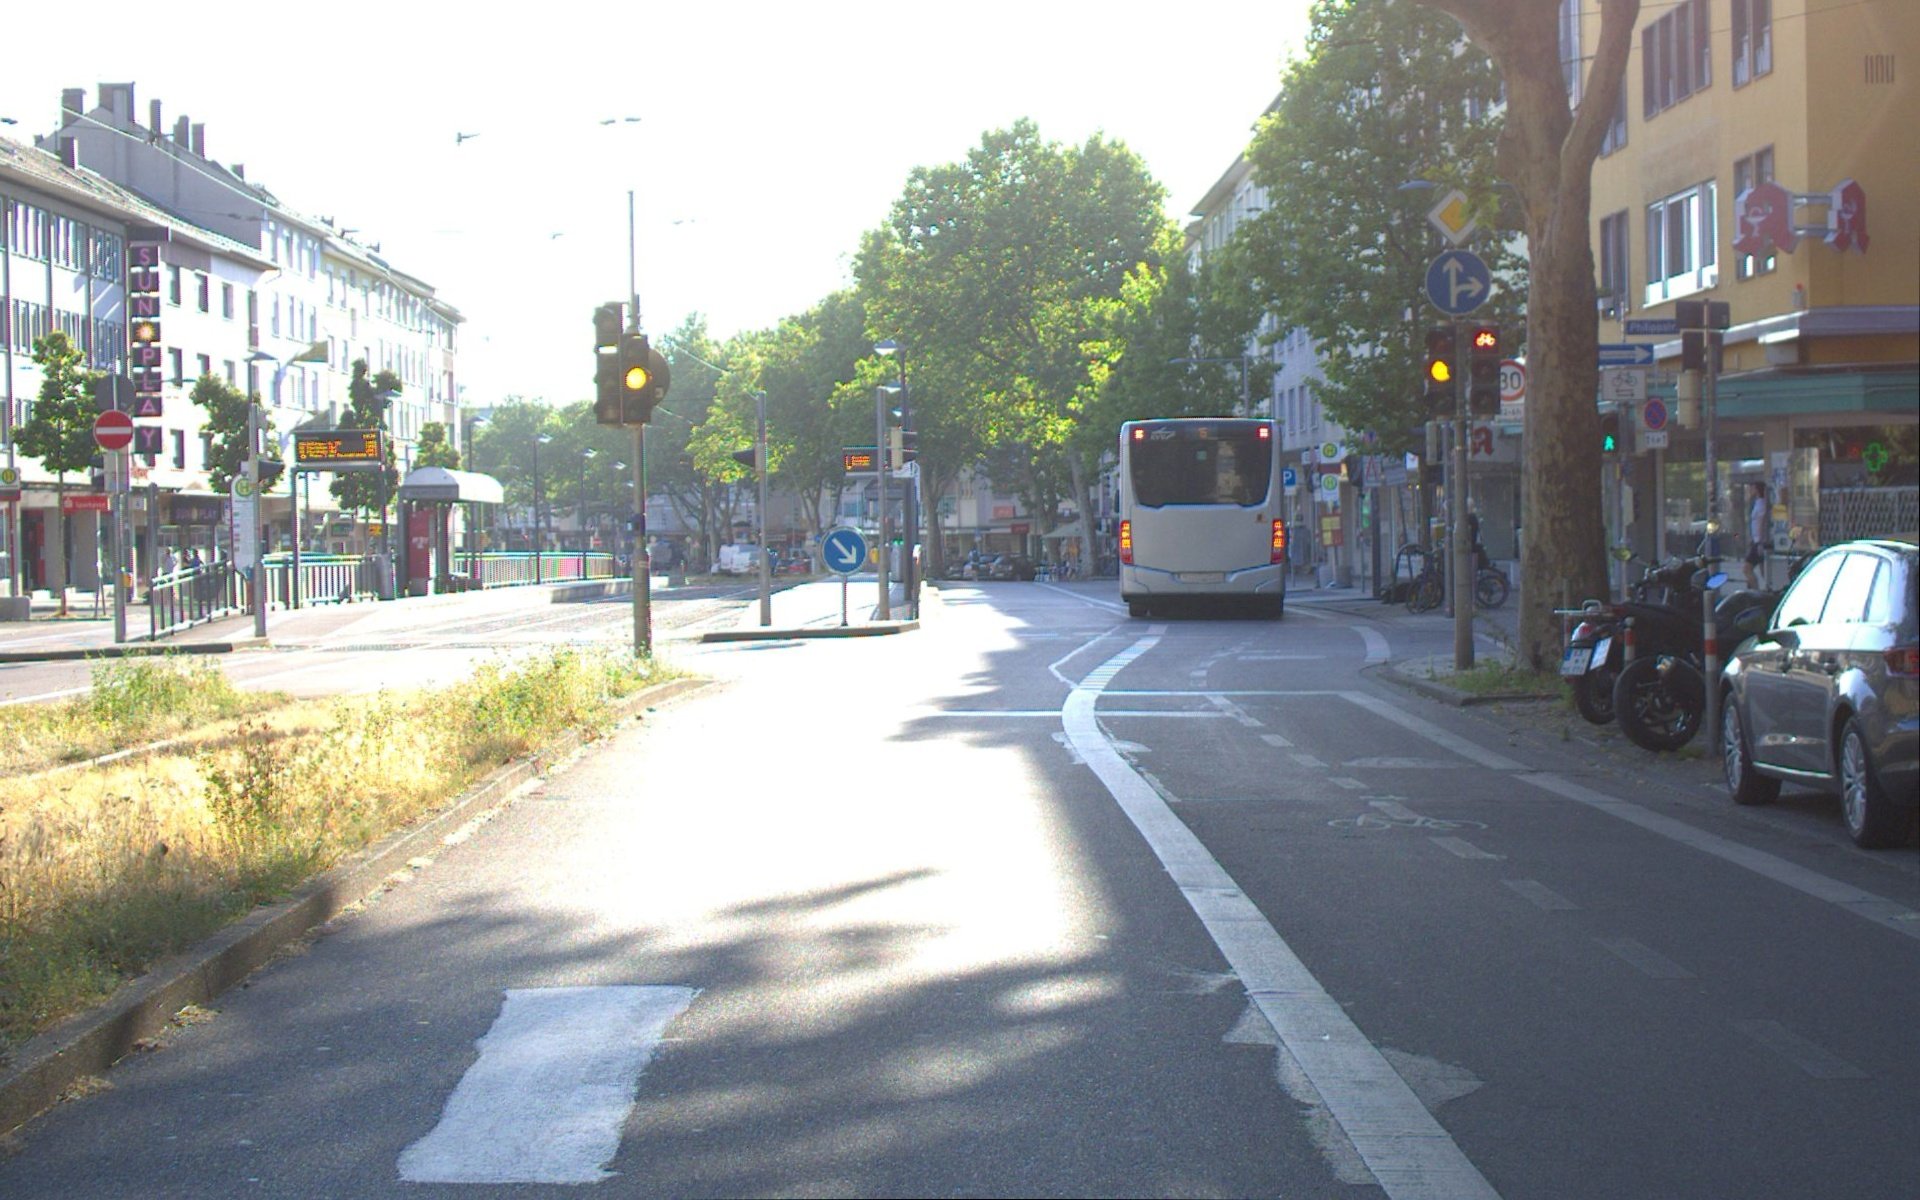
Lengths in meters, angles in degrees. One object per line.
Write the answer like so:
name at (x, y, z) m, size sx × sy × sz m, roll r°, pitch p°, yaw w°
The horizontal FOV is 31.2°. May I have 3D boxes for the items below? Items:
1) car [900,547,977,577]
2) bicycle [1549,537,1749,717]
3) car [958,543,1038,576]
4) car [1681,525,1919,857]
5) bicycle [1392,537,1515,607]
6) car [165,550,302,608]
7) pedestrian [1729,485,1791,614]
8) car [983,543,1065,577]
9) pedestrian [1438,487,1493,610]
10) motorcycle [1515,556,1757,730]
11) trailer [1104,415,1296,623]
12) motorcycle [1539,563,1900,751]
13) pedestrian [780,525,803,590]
car at (-1.171, -2.101, 189.255) m, size 3.889 × 1.591 × 1.691 m, roll -2°, pitch 1°, yaw -28°
bicycle at (5.203, 0.180, 25.881) m, size 0.695 × 1.199 × 1.843 m, roll 2°, pitch 5°, yaw 39°
car at (2.030, -2.193, 184.611) m, size 3.889 × 1.693 × 1.833 m, roll -2°, pitch 1°, yaw -28°
car at (4.861, 0.341, 16.983) m, size 1.710 × 1.392 × 4.321 m, roll -1°, pitch 1°, yaw 1°
bicycle at (7.711, -0.440, 53.766) m, size 1.772 × 1.018 × 0.694 m, roll -2°, pitch 1°, yaw 0°
car at (-23.836, -0.707, 112.794) m, size 3.986 × 1.809 × 2.000 m, roll -2°, pitch 1°, yaw -26°
pedestrian at (11.113, -0.706, 47.769) m, size 0.680 × 1.764 × 0.687 m, roll 1°, pitch 1°, yaw 1°
car at (3.377, -2.098, 181.296) m, size 3.889 × 1.693 × 1.833 m, roll -2°, pitch 1°, yaw -28°
pedestrian at (7.366, -0.759, 50.140) m, size 0.680 × 1.764 × 0.687 m, roll -1°, pitch 1°, yaw 1°
motorcycle at (4.835, 0.284, 24.507) m, size 1.993 × 1.148 × 0.601 m, roll -2°, pitch 2°, yaw -42°
trailer at (3.817, -1.307, 56.436) m, size 2.812 × 3.099 × 8.794 m, roll 1°, pitch 1°, yaw 2°
motorcycle at (4.935, 0.351, 22.331) m, size 2.205 × 1.059 × 0.767 m, roll -4°, pitch 2°, yaw -22°
pedestrian at (-2.256, -0.573, 46.142) m, size 0.291 × 0.872 × 0.344 m, roll 1°, pitch 1°, yaw -3°
